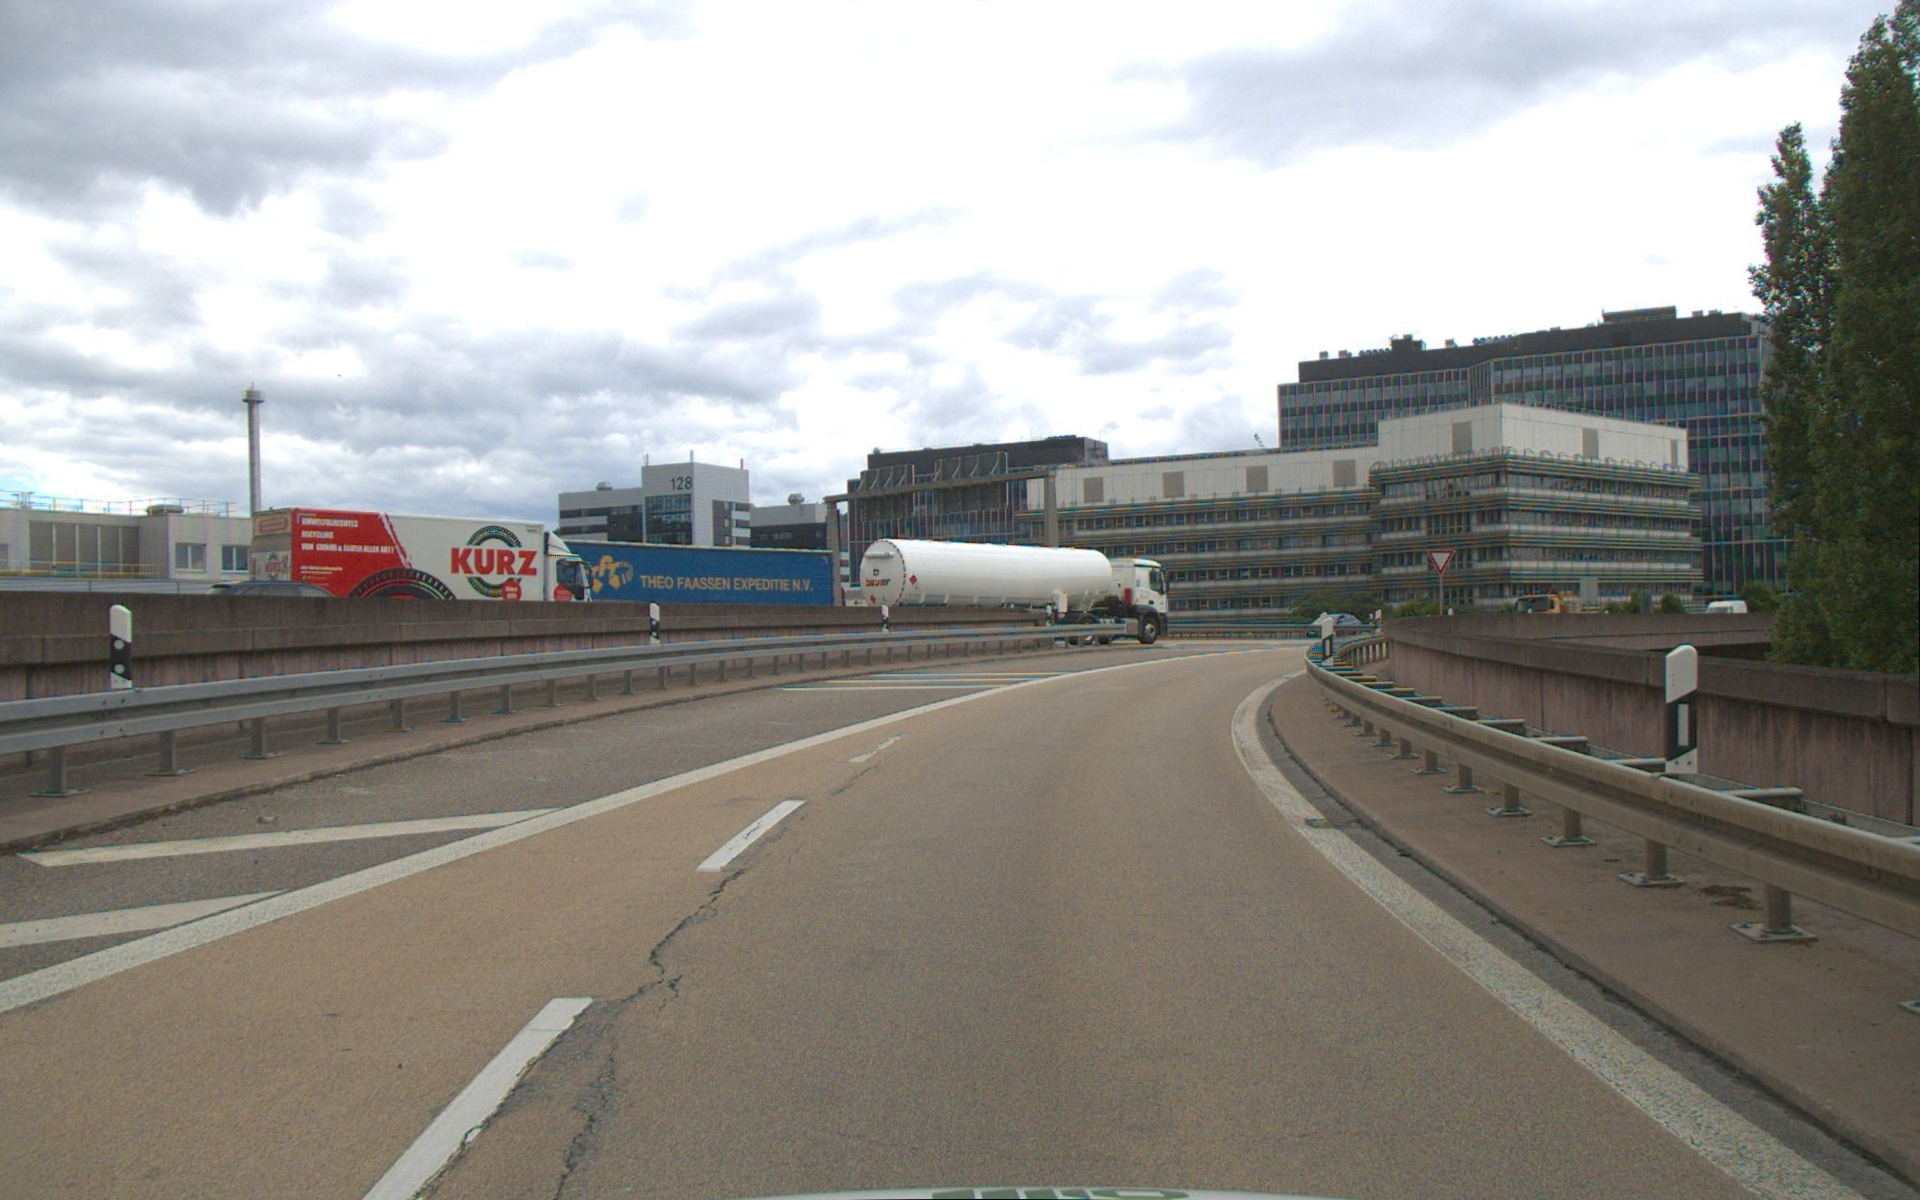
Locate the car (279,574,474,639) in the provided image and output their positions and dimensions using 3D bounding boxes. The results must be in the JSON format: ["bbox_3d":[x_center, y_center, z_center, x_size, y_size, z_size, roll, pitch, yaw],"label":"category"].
[{"bbox_3d":[-14.563,0.159,41.420,1.821,1.531,4.235,1,0,44],"label":"car"}]

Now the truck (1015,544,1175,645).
[{"bbox_3d":[4.997,-0.160,60.579,2.730,3.490,5.925,-2,-2,44],"label":"truck"}]

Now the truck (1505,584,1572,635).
[{"bbox_3d":[42.023,0.679,120.093,2.703,3.541,5.073,-2,-2,43],"label":"truck"}]

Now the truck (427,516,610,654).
[{"bbox_3d":[-12.776,-0.384,47.997,2.653,3.755,4.409,-2,-2,44],"label":"truck"}]

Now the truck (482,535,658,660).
[{"bbox_3d":[-14.563,-0.053,61.978,5.653,4.423,3.119,0,-2,-45],"label":"truck"}]

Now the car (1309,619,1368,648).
[{"bbox_3d":[21.671,1.910,94.708,1.622,1.619,3.660,-2,-2,44],"label":"car"}]

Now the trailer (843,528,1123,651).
[{"bbox_3d":[1.050,-0.306,56.408,2.753,3.803,11.079,-2,-2,43],"label":"trailer"}]

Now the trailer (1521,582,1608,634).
[{"bbox_3d":[45.187,0.570,123.542,2.695,3.700,9.297,-2,-2,42],"label":"trailer"}]

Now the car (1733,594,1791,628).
[{"bbox_3d":[66.289,0.889,136.629,2.544,2.690,6.147,-1,0,44],"label":"car"}]

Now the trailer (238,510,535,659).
[{"bbox_3d":[-15.487,-0.358,45.106,2.653,3.755,7.264,-2,-2,43],"label":"trailer"}]

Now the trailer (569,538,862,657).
[{"bbox_3d":[-9.613,-0.057,67.082,3.118,4.423,12.430,-2,-2,44],"label":"trailer"}]
